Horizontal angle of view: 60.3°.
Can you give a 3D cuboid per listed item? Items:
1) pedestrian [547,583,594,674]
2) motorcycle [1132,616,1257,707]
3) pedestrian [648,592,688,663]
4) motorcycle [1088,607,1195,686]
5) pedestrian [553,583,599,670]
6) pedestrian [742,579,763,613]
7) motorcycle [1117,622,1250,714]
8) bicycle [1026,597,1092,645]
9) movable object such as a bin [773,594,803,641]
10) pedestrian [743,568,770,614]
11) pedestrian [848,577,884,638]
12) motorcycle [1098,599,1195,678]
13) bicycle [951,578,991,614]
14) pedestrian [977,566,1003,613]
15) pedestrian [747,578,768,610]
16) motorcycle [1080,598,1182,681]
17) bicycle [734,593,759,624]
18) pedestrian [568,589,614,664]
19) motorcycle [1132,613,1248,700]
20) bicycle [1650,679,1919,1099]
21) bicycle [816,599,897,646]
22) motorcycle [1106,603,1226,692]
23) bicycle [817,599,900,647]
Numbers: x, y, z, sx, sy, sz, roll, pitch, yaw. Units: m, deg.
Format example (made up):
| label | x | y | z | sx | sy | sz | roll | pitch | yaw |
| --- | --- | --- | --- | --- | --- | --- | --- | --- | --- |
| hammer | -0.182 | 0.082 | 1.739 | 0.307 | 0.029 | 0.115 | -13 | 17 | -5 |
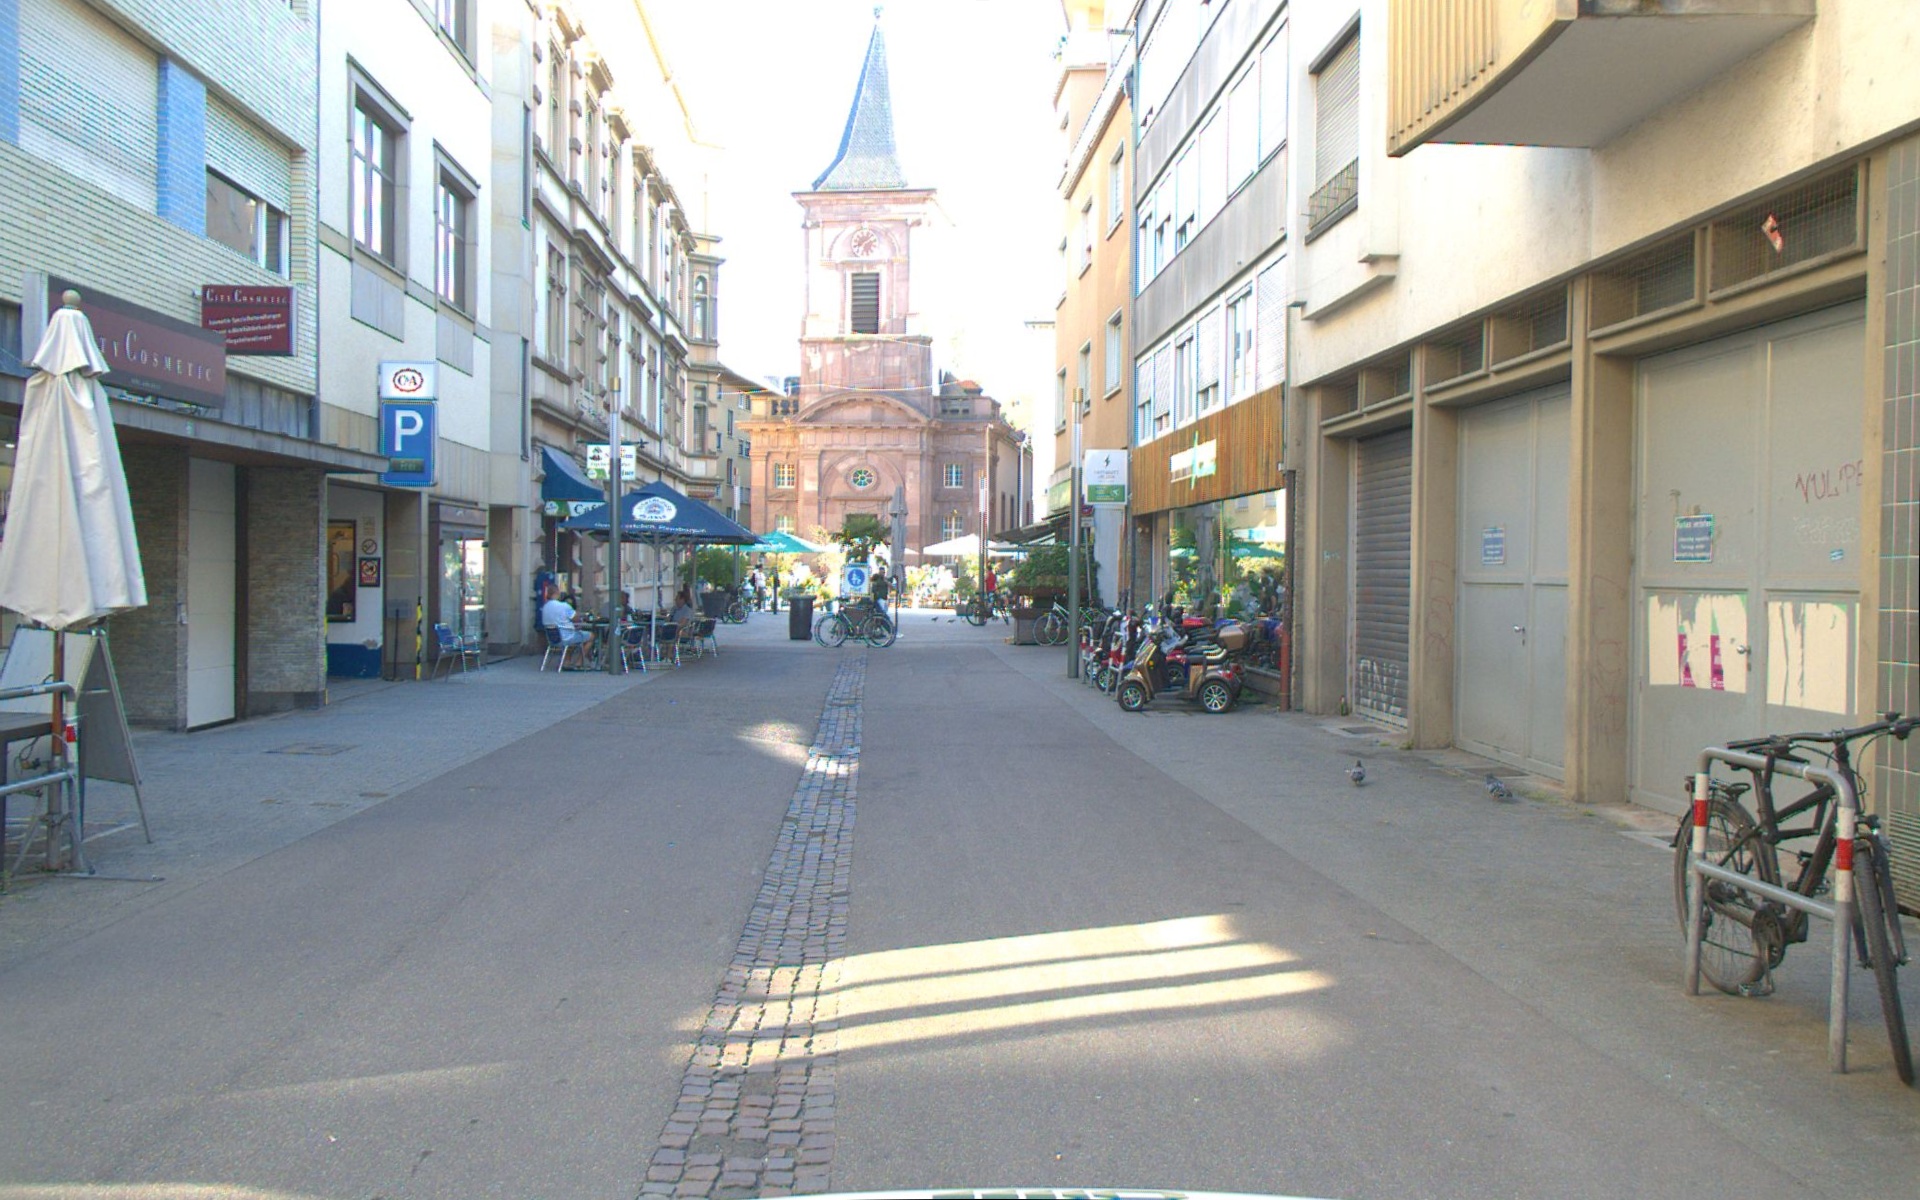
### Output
| label | x | y | z | sx | sy | sz | roll | pitch | yaw |
| --- | --- | --- | --- | --- | --- | --- | --- | --- | --- |
| pedestrian | -6.083 | 0.428 | 25.804 | 0.696 | 1.392 | 0.717 | 0 | 1 | -15 |
| motorcycle | 2.898 | 0.751 | 20.437 | 1.484 | 1.094 | 0.412 | 0 | 0 | 15 |
| pedestrian | -5.184 | 0.487 | 29.329 | 0.680 | 1.236 | 0.582 | 0 | 1 | -11 |
| motorcycle | 2.561 | 0.648 | 23.353 | 1.452 | 1.094 | 0.412 | 0 | 0 | 15 |
| pedestrian | -6.233 | 0.423 | 26.814 | 0.706 | 1.392 | 0.707 | 0 | 1 | -15 |
| pedestrian | -7.834 | -0.156 | 62.486 | 0.686 | 1.239 | 0.720 | 1 | 1 | 2 |
| motorcycle | 2.657 | 0.801 | 19.669 | 1.531 | 1.060 | 0.373 | 0 | 0 | 15 |
| bicycle | 2.166 | 0.459 | 36.233 | 1.432 | 1.022 | 0.573 | 1 | 1 | 4 |
| movable object such as a bin | -4.111 | 0.418 | 39.497 | 0.707 | 1.093 | 0.374 | 0 | 1 | -5 |
| pedestrian | -7.140 | -0.316 | 58.010 | 0.767 | 1.583 | 0.535 | 1 | 1 | 17 |
| pedestrian | -2.323 | 0.186 | 40.891 | 0.866 | 1.489 | 0.730 | 0 | 0 | -3 |
| motorcycle | 2.867 | 0.582 | 25.382 | 1.452 | 1.202 | 0.412 | 0 | 0 | 12 |
| bicycle | 0.429 | -0.144 | 62.301 | 1.571 | 1.331 | 0.361 | 0 | 1 | -33 |
| pedestrian | 1.068 | -0.372 | 58.779 | 0.608 | 1.669 | 0.647 | 0 | 1 | -43 |
| pedestrian | -7.807 | -0.237 | 63.920 | 0.686 | 1.239 | 0.720 | 1 | 1 | 2 |
| motorcycle | 2.517 | 0.568 | 24.357 | 1.452 | 1.202 | 0.412 | 0 | 0 | 12 |
| bicycle | -6.269 | 0.237 | 48.577 | 0.447 | 0.864 | 2.146 | 1 | 1 | 0 |
| pedestrian | -6.348 | 0.449 | 28.496 | 0.751 | 1.254 | 0.829 | 0 | 1 | -11 |
| motorcycle | 2.975 | 0.723 | 21.399 | 1.452 | 1.094 | 0.412 | 0 | 0 | 15 |
| bicycle | 2.932 | 0.889 | 5.694 | 0.437 | 1.160 | 1.710 | 1 | -1 | 2 |
| bicycle | -2.305 | 0.495 | 36.812 | 1.789 | 1.022 | 0.381 | 1 | 0 | -7 |
| motorcycle | 2.821 | 0.639 | 22.652 | 1.590 | 1.195 | 0.481 | 0 | 0 | 15 |
| bicycle | -2.239 | 0.506 | 36.413 | 1.789 | 1.022 | 0.381 | 1 | 0 | -7 |
